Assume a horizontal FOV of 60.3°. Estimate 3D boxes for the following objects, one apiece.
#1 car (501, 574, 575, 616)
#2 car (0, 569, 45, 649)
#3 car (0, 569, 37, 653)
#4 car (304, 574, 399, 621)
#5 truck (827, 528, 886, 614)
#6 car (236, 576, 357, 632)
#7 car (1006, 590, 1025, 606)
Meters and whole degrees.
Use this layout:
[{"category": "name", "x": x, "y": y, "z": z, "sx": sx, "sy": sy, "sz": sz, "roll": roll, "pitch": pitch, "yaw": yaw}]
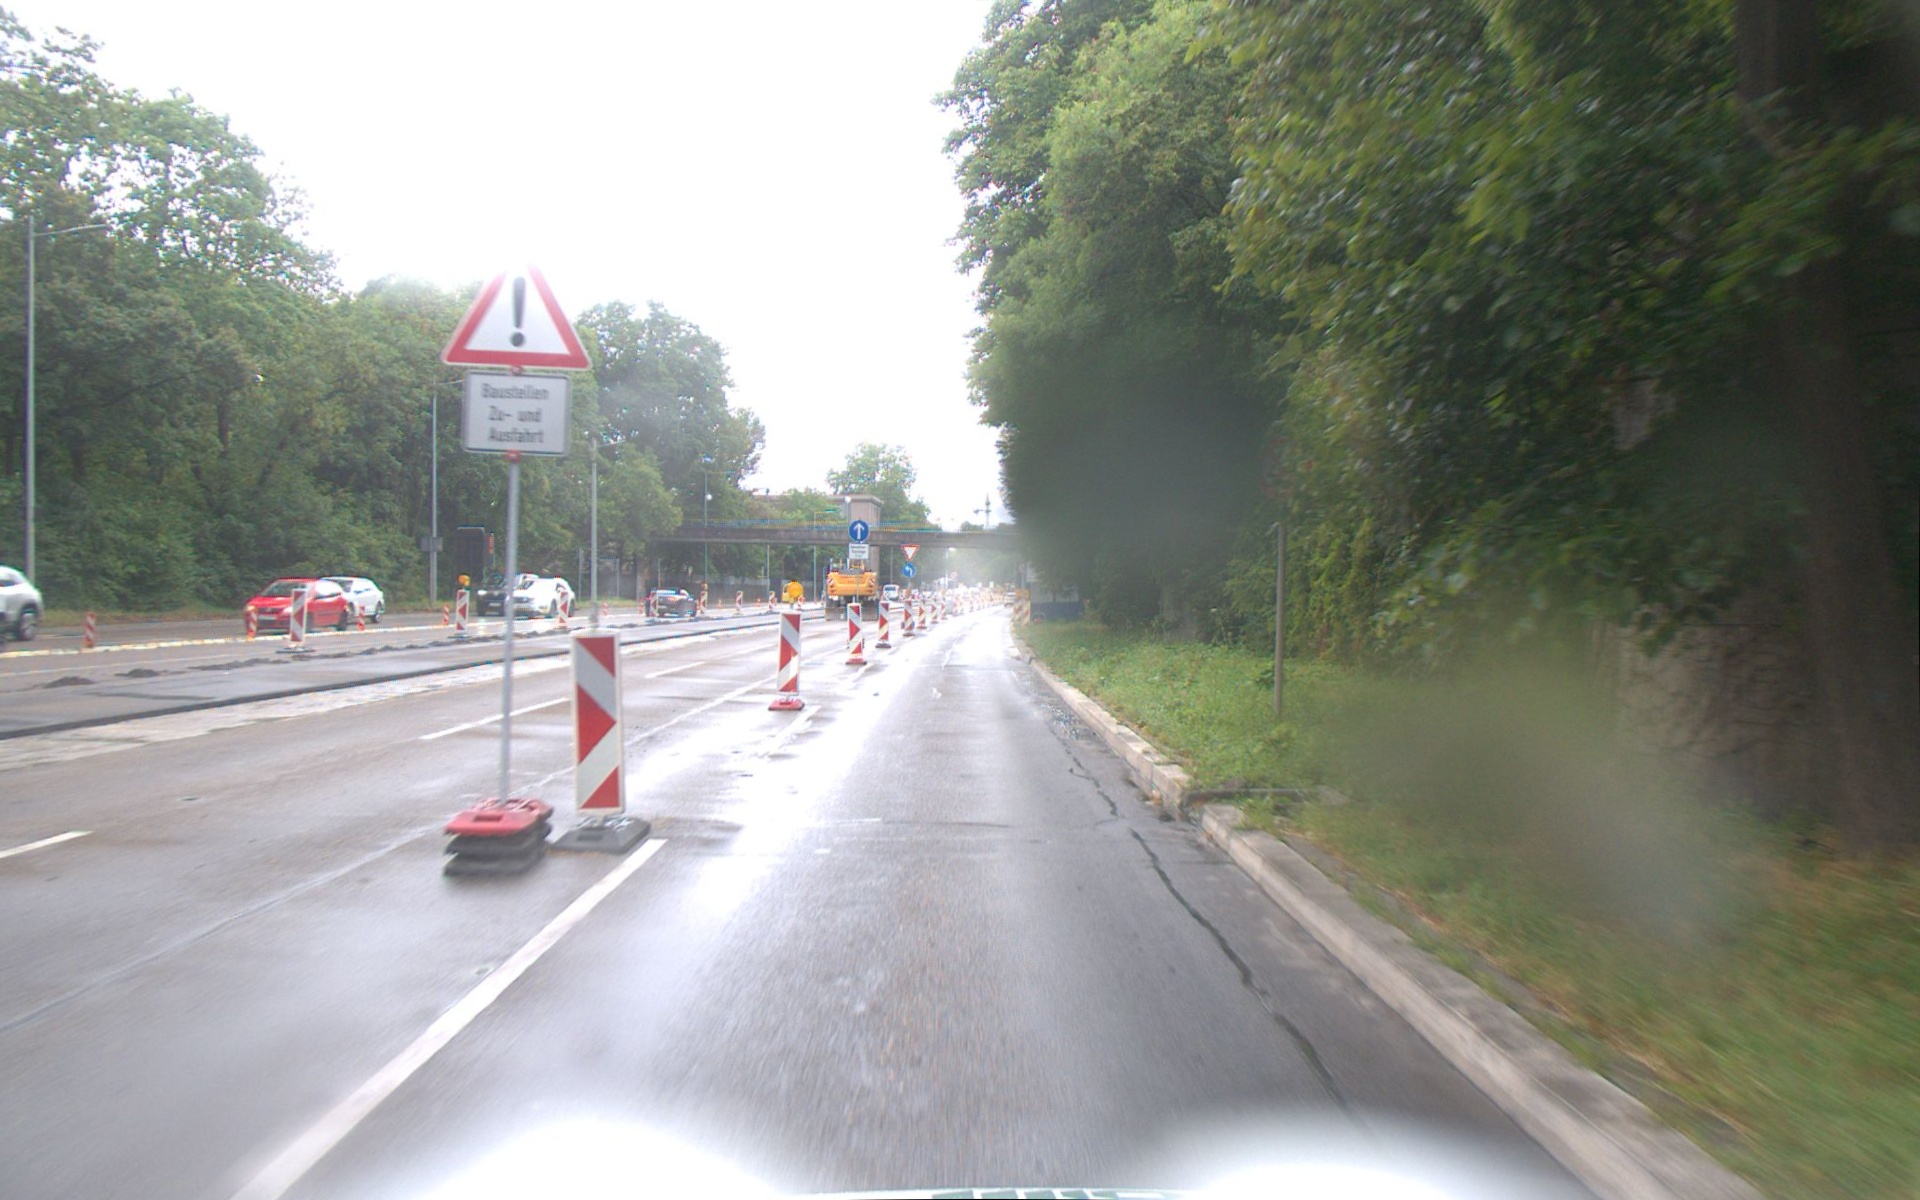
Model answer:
[{"category": "car", "x": -17.583, "y": -0.213, "z": 69.119, "sx": 1.851, "sy": 1.690, "sz": 4.893, "roll": 1, "pitch": 0, "yaw": 0}, {"category": "car", "x": -20.800, "y": 0.176, "z": 33.894, "sx": 1.668, "sy": 1.655, "sz": 4.418, "roll": 1, "pitch": 0, "yaw": -1}, {"category": "car", "x": -18.065, "y": 0.185, "z": 28.693, "sx": 1.740, "sy": 1.513, "sz": 4.196, "roll": 1, "pitch": 0, "yaw": -1}, {"category": "car", "x": -20.530, "y": -0.092, "z": 55.970, "sx": 1.645, "sy": 1.522, "sz": 4.149, "roll": -1, "pitch": 0, "yaw": 0}, {"category": "truck", "x": -5.519, "y": -1.521, "z": 89.970, "sx": 2.839, "sy": 4.333, "sz": 10.752, "roll": 1, "pitch": 0, "yaw": -2}, {"category": "car", "x": -17.934, "y": 0.082, "z": 44.911, "sx": 1.645, "sy": 1.425, "sz": 4.012, "roll": 1, "pitch": 0, "yaw": 0}, {"category": "car", "x": 6.015, "y": -0.214, "z": 178.321, "sx": 1.952, "sy": 1.668, "sz": 4.001, "roll": -1, "pitch": 0, "yaw": 3}]
